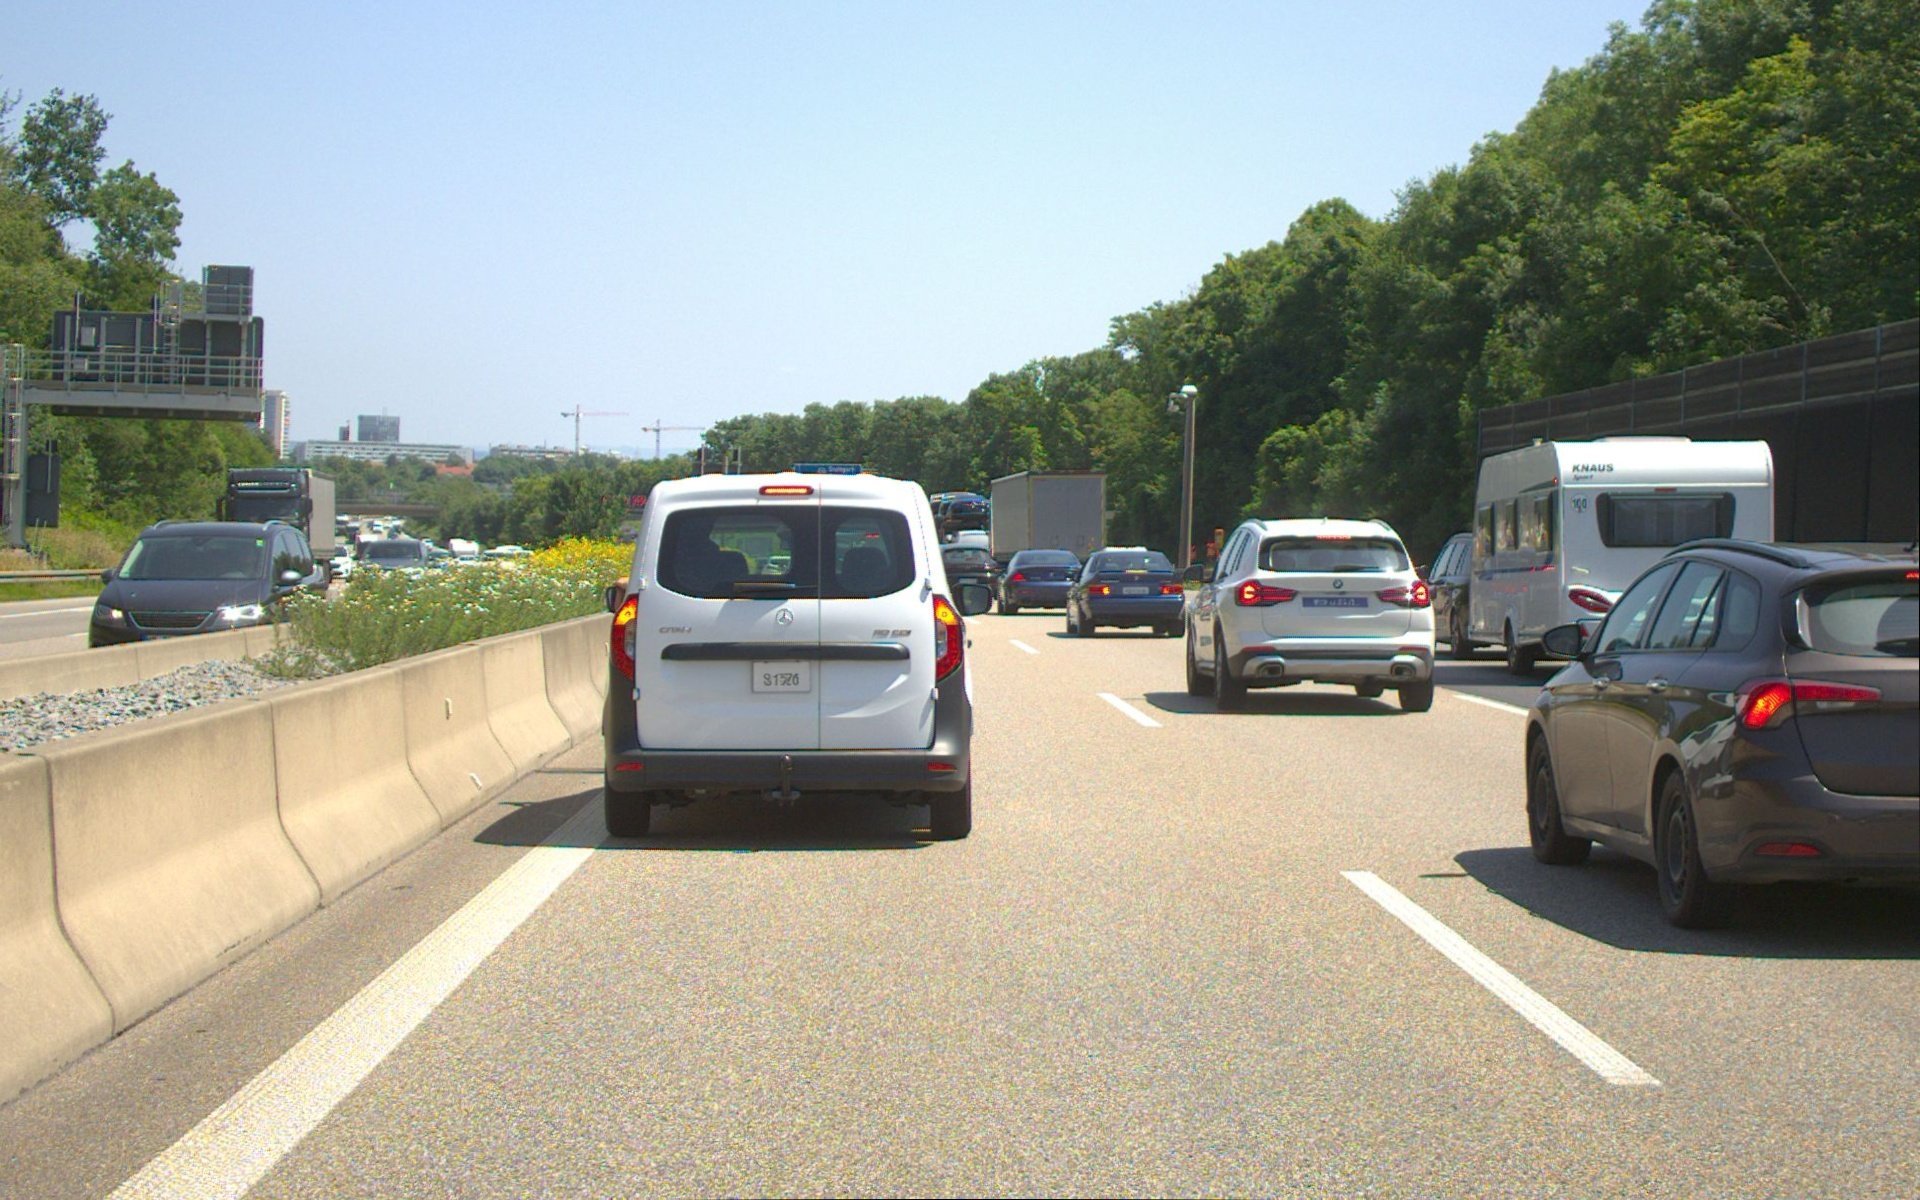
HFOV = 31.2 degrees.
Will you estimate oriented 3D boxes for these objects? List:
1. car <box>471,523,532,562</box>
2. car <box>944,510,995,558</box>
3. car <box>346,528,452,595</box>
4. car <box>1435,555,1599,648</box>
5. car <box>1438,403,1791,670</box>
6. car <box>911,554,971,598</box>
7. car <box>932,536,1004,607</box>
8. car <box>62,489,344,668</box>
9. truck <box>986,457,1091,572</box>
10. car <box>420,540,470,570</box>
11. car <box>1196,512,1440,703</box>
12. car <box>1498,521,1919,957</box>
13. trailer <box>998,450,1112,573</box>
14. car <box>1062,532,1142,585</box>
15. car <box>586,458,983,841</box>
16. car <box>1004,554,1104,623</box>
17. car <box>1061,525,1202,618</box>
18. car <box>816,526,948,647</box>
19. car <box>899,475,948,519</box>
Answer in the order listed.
[{"bbox_3d":[-18.151,-2.281,136.302,1.993,1.493,4.248,0,1,-2],"label":"car"},{"bbox_3d":[0.411,-2.831,148.087,1.993,2.007,4.001,0,1,-3],"label":"car"},{"bbox_3d":[-13.974,-0.959,85.844,1.993,1.622,4.475,1,1,-1],"label":"car"},{"bbox_3d":[8.807,0.005,54.639,1.824,1.419,4.000,0,1,-2],"label":"car"},{"bbox_3d":[7.213,-0.690,38.709,2.478,2.756,6.220,0,1,-3],"label":"car"},{"bbox_3d":[-0.653,-0.807,114.323,1.824,1.442,4.000,0,1,-3],"label":"car"},{"bbox_3d":[0.209,-0.833,98.670,1.824,1.982,4.001,0,1,-3],"label":"car"},{"bbox_3d":[-7.748,-0.254,35.597,1.993,1.718,4.357,1,1,-1],"label":"car"},{"bbox_3d":[2.771,-3.023,124.189,3.081,3.972,9.647,0,1,-3],"label":"truck"},{"bbox_3d":[-25.488,-2.229,170.199,1.993,1.486,4.000,0,1,-2],"label":"car"},{"bbox_3d":[3.170,0.024,31.111,1.871,1.603,3.879,1,1,1],"label":"car"},{"bbox_3d":[3.550,0.446,14.145,1.838,1.508,4.402,1,1,-2],"label":"car"},{"bbox_3d":[3.145,-2.922,116.844,3.081,3.972,10.324,0,1,-3],"label":"trailer"},{"bbox_3d":[3.922,-1.176,95.477,1.824,1.419,4.001,0,1,-3],"label":"car"},{"bbox_3d":[-0.815,0.209,18.199,1.802,1.802,4.000,0,1,1],"label":"car"},{"bbox_3d":[1.984,-0.263,73.589,1.824,1.419,4.000,0,1,-3],"label":"car"},{"bbox_3d":[2.683,-0.451,54.550,1.824,1.419,4.000,0,1,-3],"label":"car"},{"bbox_3d":[-1.292,-0.226,55.119,1.993,1.853,4.000,0,1,-3],"label":"car"},{"bbox_3d":[-1.767,-4.938,165.271,1.993,2.007,4.001,0,1,-7],"label":"car"}]
